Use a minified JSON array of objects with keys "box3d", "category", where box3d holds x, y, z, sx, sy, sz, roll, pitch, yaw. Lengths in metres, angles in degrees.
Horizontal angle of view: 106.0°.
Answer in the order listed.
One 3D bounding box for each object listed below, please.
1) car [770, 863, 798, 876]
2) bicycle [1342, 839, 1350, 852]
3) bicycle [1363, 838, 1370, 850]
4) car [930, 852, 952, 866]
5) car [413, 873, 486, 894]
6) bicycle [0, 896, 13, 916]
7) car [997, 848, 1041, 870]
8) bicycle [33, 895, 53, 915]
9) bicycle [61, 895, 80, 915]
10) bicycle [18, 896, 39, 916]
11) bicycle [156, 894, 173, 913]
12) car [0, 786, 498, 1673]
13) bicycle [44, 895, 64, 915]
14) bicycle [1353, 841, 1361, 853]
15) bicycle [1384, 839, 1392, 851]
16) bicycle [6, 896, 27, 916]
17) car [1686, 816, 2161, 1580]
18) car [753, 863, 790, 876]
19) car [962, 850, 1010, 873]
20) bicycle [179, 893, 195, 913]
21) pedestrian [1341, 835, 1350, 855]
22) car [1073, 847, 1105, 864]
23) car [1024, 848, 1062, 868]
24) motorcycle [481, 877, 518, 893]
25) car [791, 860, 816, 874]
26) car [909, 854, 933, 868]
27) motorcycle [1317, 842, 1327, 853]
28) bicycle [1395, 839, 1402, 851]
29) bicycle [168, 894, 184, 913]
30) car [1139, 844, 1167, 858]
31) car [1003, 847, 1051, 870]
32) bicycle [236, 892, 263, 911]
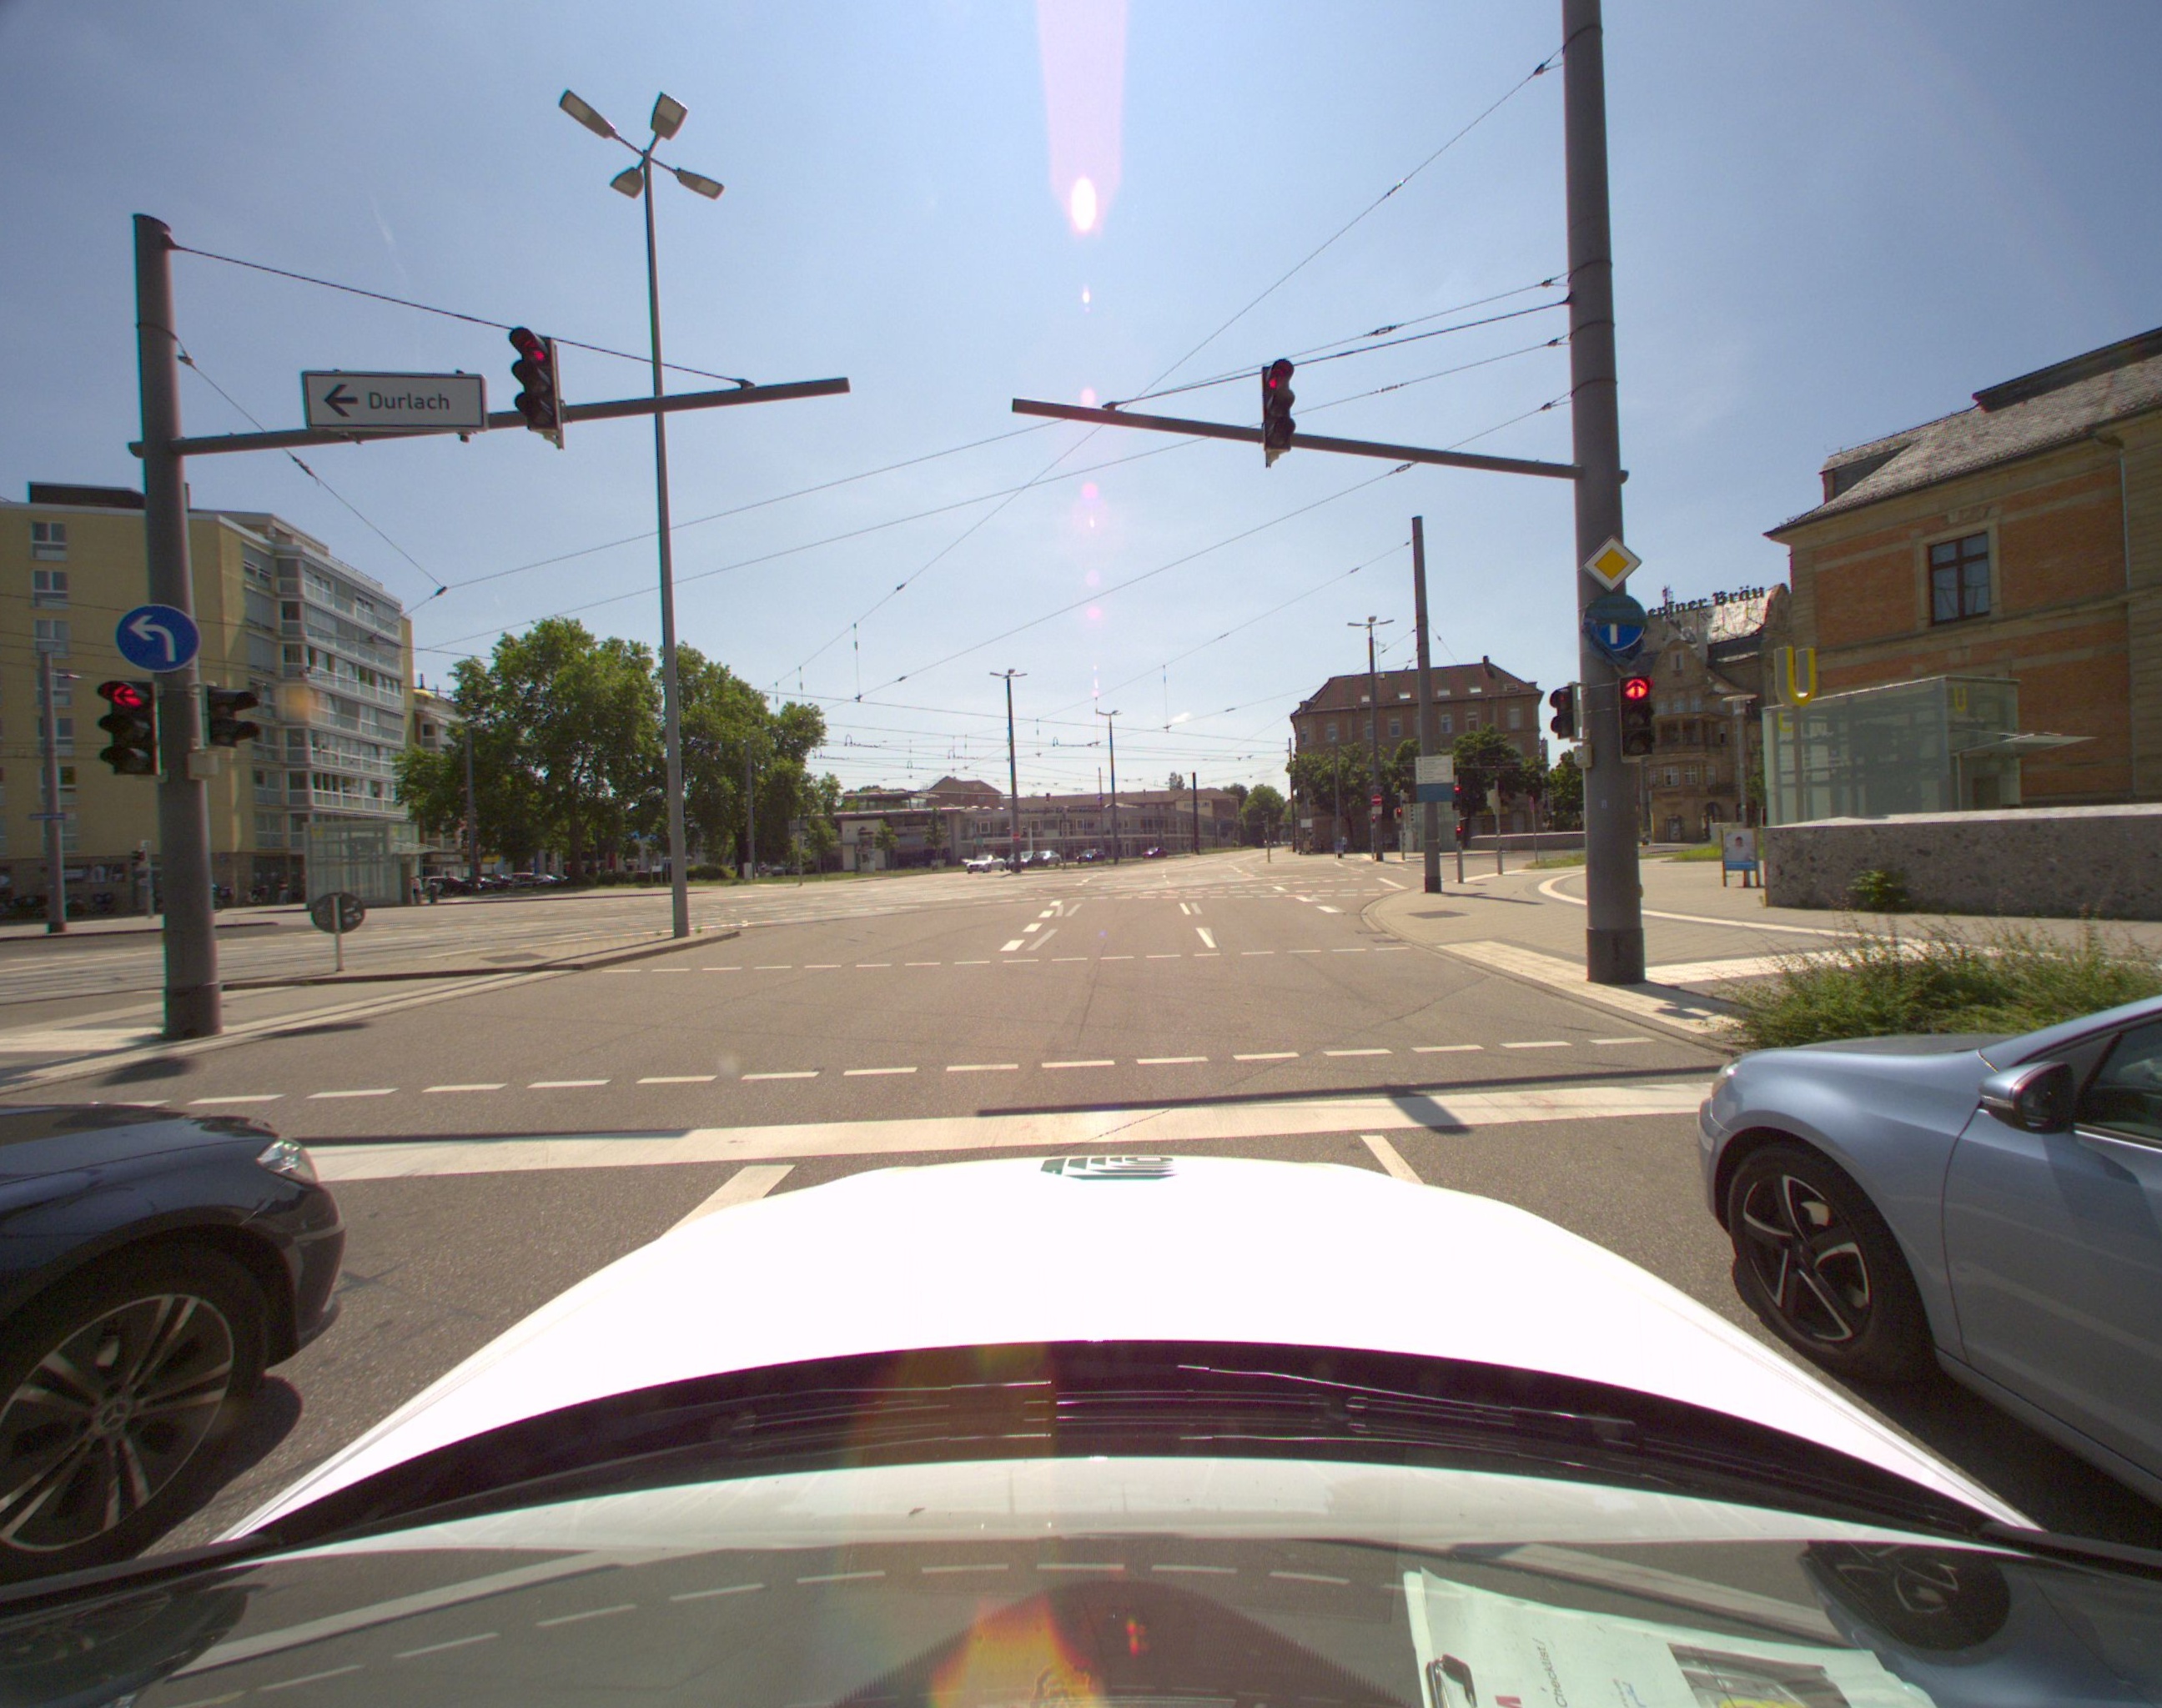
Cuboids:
[{"box3d":[-37.485,1.904,102.849,1.760,1.510,4.330,-2,0,3],"category":"car"},{"box3d":[25.744,-0.825,79.157,0.440,1.146,2.099,-1,-1,9],"category":"bicycle"},{"box3d":[27.352,-0.937,78.050,0.546,1.119,1.829,-2,1,18],"category":"bicycle"},{"box3d":[-17.292,0.606,100.714,1.913,1.707,4.002,0,-1,2],"category":"car"},{"box3d":[-49.091,2.278,63.402,4.000,1.420,1.987,-2,0,-20],"category":"car"},{"box3d":[-58.457,2.814,44.118,0.435,1.026,1.426,-2,0,-42],"category":"bicycle"},{"box3d":[-5.325,0.416,70.696,1.977,1.700,4.870,-2,0,19],"category":"car"},{"box3d":[-56.914,2.808,44.663,0.435,1.026,1.426,-2,0,-42],"category":"bicycle"},{"box3d":[-55.910,2.805,45.058,0.435,1.026,1.426,-2,0,-42],"category":"bicycle"},{"box3d":[-57.402,2.810,44.428,0.435,1.026,1.426,-2,0,-42],"category":"bicycle"},{"box3d":[-51.688,2.782,45.938,0.435,1.026,1.426,-2,0,-42],"category":"bicycle"},{"box3d":[-2.958,0.712,0.338,1.790,1.640,4.808,-1,0,2],"category":"car"},{"box3d":[-56.408,2.805,44.737,0.435,1.026,1.426,-2,0,-42],"category":"bicycle"},{"box3d":[26.555,-0.642,78.425,0.546,1.120,1.830,-2,0,23],"category":"bicycle"},{"box3d":[29.507,-0.858,78.234,0.546,1.120,1.879,-2,0,18],"category":"bicycle"},{"box3d":[-57.857,2.811,44.269,0.435,1.026,1.426,-2,0,-42],"category":"bicycle"},{"box3d":[2.853,0.650,0.792,1.645,1.459,4.005,-1,0,2],"category":"car"},{"box3d":[-41.181,2.011,108.360,4.343,1.510,1.754,-3,0,-33],"category":"car"},{"box3d":[-7.480,0.553,64.603,2.061,1.580,4.866,-2,0,15],"category":"car"},{"box3d":[-50.801,2.779,46.295,0.435,1.026,1.426,-2,0,-42],"category":"bicycle"},{"box3d":[22.963,-0.762,70.684,0.462,1.708,0.636,-2,0,-17],"category":"pedestrian"},{"box3d":[0.907,0.183,88.824,2.061,1.682,4.870,-2,0,19],"category":"car"},{"box3d":[-3.519,0.330,76.600,1.977,1.739,4.565,-2,0,19],"category":"car"},{"box3d":[-39.495,2.104,55.326,1.925,0.961,0.521,-2,0,-29],"category":"motorcycle"},{"box3d":[-34.821,1.605,102.249,1.763,1.510,4.322,-2,0,-3],"category":"car"},{"box3d":[-19.744,0.821,100.708,1.913,1.707,4.002,0,-1,2],"category":"car"},{"box3d":[23.299,-0.651,78.723,0.577,1.074,1.949,-2,0,6],"category":"motorcycle"},{"box3d":[30.460,-0.889,78.156,0.546,1.120,1.938,-2,0,18],"category":"bicycle"},{"box3d":[-51.223,2.780,46.107,0.435,1.026,1.426,-2,0,-42],"category":"bicycle"},{"box3d":[9.354,-0.405,105.791,1.974,1.776,4.025,-1,-1,31],"category":"car"},{"box3d":[-4.235,0.353,64.838,1.977,1.637,4.870,-2,0,19],"category":"car"},{"box3d":[-49.274,2.787,48.269,0.432,1.026,1.437,-2,0,-14],"category":"bicycle"}]
